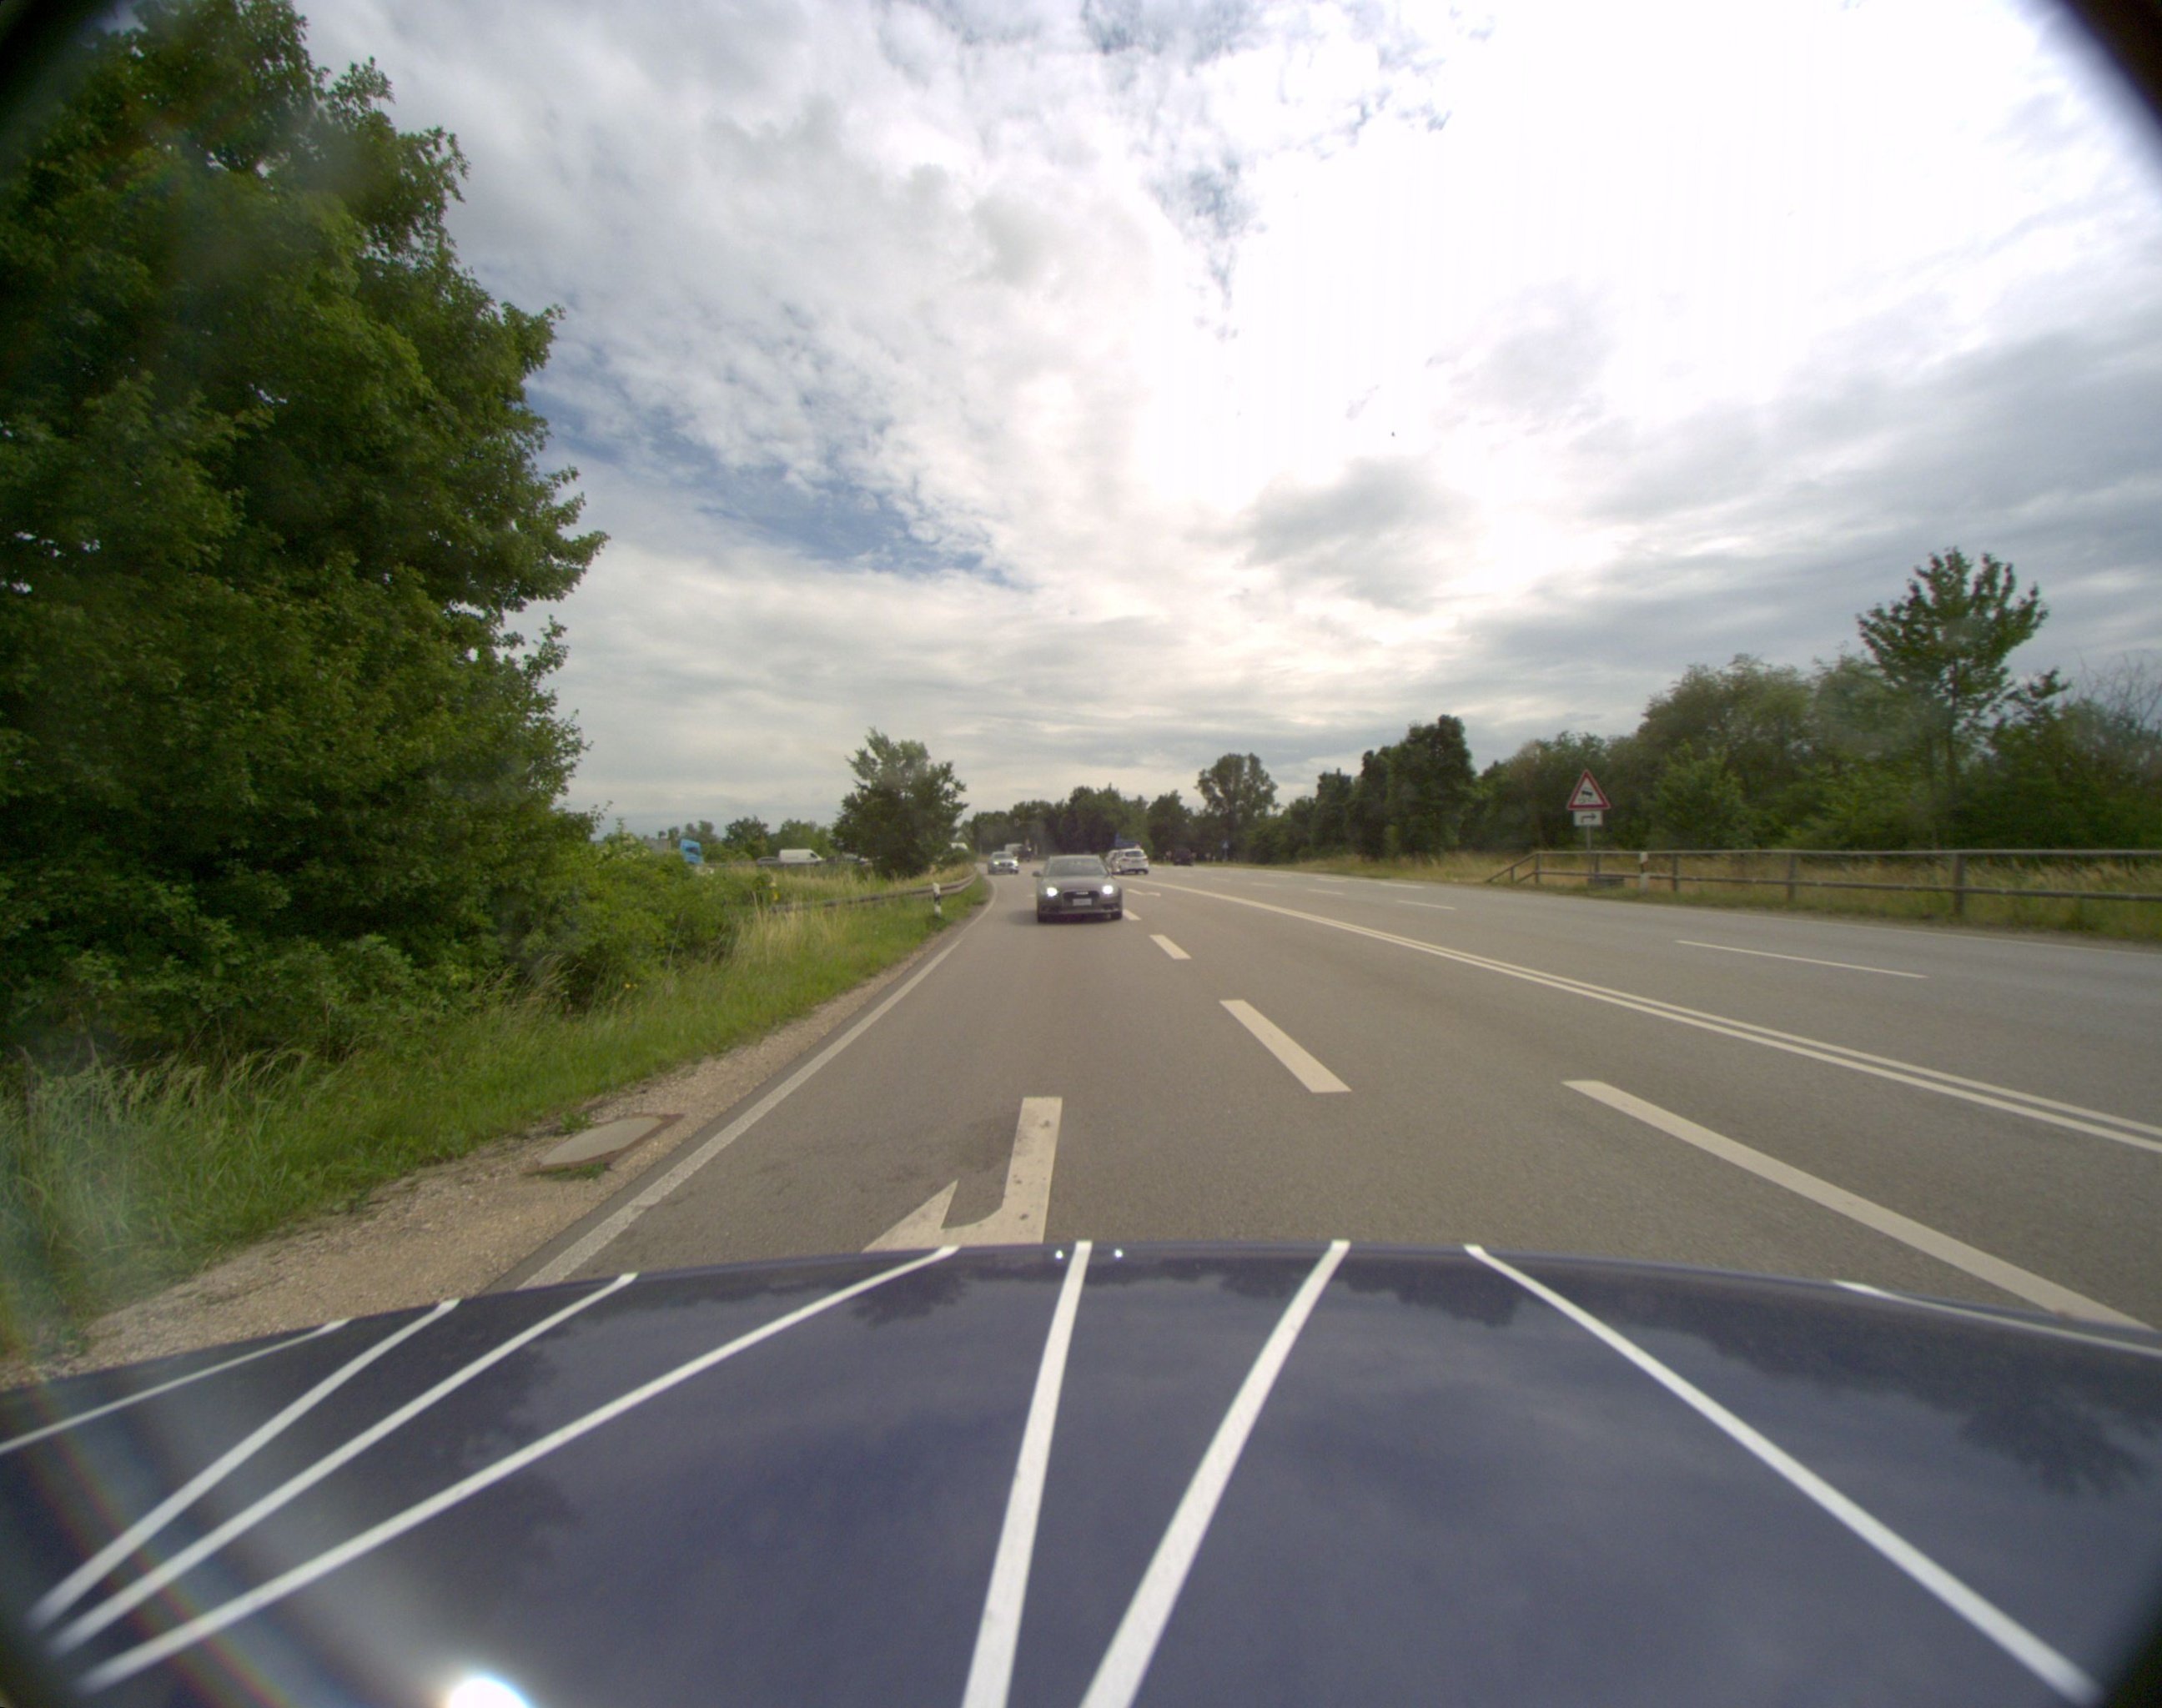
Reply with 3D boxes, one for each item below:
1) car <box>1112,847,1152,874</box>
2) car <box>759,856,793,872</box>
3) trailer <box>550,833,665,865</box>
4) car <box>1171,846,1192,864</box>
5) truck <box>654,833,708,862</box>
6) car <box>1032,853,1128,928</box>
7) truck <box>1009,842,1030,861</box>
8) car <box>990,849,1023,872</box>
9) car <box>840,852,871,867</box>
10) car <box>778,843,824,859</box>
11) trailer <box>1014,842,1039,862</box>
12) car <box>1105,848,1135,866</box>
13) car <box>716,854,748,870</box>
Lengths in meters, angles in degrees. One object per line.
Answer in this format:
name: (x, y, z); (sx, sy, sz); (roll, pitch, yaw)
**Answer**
car: (3.114, 0.379, 47.118); (1.735, 1.509, 3.997); (-3, 1, -7)
car: (-39.571, 1.310, 98.425); (4.004, 2.002, 1.928); (-1, 0, -23)
trailer: (-56.022, -0.603, 90.334); (11.243, 3.291, 2.387); (-3, 1, -23)
car: (10.549, 0.120, 79.265); (1.997, 1.787, 4.322); (-2, 0, 9)
truck: (-49.160, -0.841, 93.453); (5.603, 3.286, 2.387); (-3, 1, -27)
car: (-0.147, 0.758, 17.930); (1.958, 1.527, 3.998); (-2, 0, -4)
truck: (-8.445, -0.302, 103.996); (2.031, 2.430, 5.018); (-2, 1, -14)
car: (-5.537, 0.472, 55.890); (2.022, 1.603, 4.277); (-2, 0, -10)
car: (-31.619, 0.739, 106.554); (4.004, 2.002, 1.996); (-2, 1, -21)
car: (-39.223, -0.436, 106.483); (5.904, 2.002, 2.057); (-2, 0, -23)
trailer: (-7.193, -0.301, 98.925); (2.031, 2.430, 6.957); (-2, 1, -14)
car: (3.394, 0.234, 67.116); (1.883, 1.480, 3.740); (-2, 0, -10)
car: (-48.908, 1.104, 106.595); (4.004, 2.002, 1.928); (-2, 0, -23)
